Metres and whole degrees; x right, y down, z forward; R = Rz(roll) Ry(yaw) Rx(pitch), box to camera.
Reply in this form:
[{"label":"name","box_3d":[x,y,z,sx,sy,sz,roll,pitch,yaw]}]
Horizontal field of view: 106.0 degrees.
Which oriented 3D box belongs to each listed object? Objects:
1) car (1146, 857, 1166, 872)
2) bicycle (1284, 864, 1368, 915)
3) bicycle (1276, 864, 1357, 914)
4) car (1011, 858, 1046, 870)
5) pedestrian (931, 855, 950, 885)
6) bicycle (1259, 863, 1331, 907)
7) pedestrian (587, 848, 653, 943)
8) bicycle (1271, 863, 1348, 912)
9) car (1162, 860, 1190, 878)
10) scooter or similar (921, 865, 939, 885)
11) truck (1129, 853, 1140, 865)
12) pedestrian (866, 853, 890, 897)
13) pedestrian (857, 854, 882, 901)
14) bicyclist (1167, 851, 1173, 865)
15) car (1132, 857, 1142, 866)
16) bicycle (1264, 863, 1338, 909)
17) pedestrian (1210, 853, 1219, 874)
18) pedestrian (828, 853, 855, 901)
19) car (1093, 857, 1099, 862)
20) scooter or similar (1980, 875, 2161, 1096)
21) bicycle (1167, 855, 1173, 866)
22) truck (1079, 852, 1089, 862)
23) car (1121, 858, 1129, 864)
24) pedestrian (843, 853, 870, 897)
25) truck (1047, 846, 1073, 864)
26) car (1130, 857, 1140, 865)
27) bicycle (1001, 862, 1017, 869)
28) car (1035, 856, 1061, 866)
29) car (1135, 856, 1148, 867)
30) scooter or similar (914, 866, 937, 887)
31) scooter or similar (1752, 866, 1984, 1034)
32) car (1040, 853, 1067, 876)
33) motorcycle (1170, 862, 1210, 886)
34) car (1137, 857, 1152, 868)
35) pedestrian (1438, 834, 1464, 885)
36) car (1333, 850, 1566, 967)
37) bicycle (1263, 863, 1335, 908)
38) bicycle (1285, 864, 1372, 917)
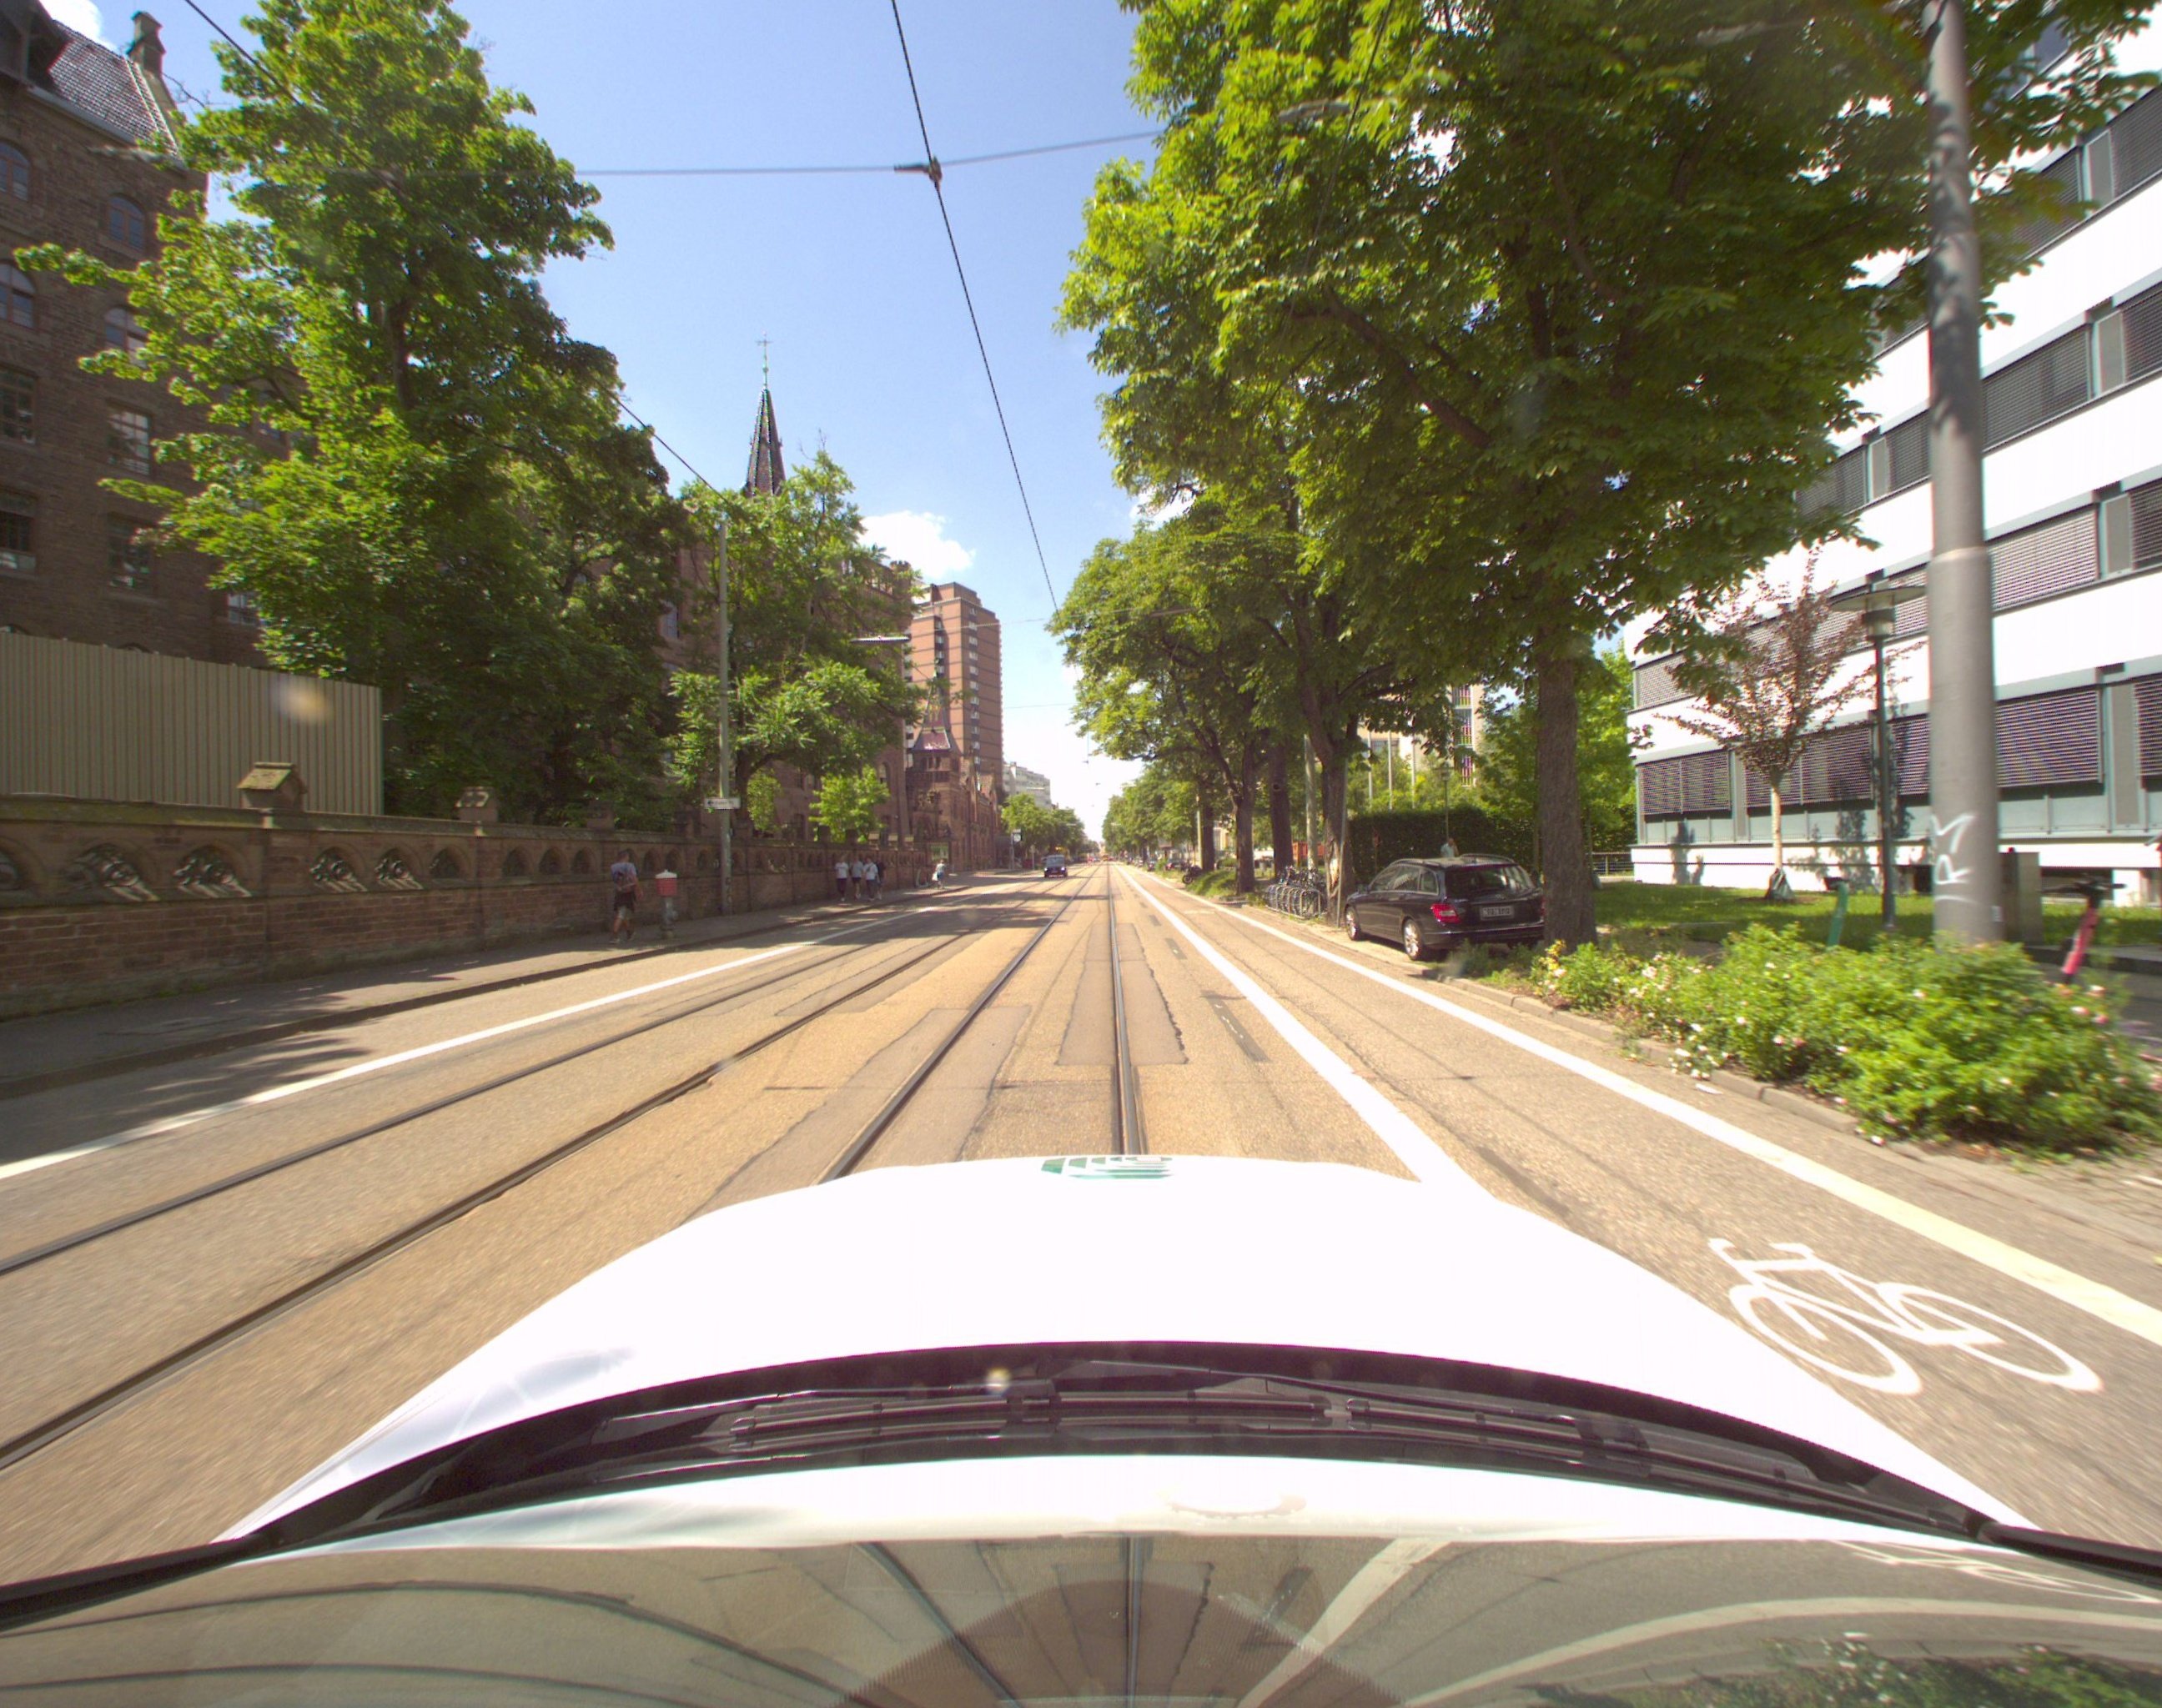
[{"label":"car","box_3d":[7.683,1.036,84.085,1.665,1.408,4.750,-2,0,1]},{"label":"bicycle","box_3d":[5.800,0.836,19.290,1.806,1.111,0.534,-2,-1,-8]},{"label":"bicycle","box_3d":[5.750,0.843,19.910,1.806,1.111,0.532,-2,-1,-8]},{"label":"car","box_3d":[-7.782,1.454,120.074,4.790,1.566,1.984,-1,-1,-27]},{"label":"pedestrian","box_3d":[-7.766,0.884,45.080,0.796,1.589,0.920,1,0,1]},{"label":"bicycle","box_3d":[5.837,0.841,22.271,1.803,1.111,0.449,-3,-1,-2]},{"label":"pedestrian","box_3d":[-9.031,0.791,15.983,0.719,1.792,0.920,1,0,2]},{"label":"bicycle","box_3d":[5.768,0.835,20.568,1.809,1.111,0.488,-2,-1,-12]},{"label":"car","box_3d":[7.153,1.117,61.593,1.744,1.270,3.835,0,0,2]},{"label":"scooter or similar","box_3d":[-8.884,1.228,47.959,0.325,1.127,1.230,-1,-1,30]},{"label":"truck","box_3d":[11.047,0.984,168.508,2.007,2.489,5.957,-2,0,1]},{"label":"pedestrian","box_3d":[-8.232,0.851,33.045,0.674,1.748,0.920,1,0,2]},{"label":"pedestrian","box_3d":[-8.134,0.891,31.370,0.674,1.790,0.920,1,0,2]},{"label":"bicyclist","box_3d":[10.897,0.450,100.087,0.578,1.648,0.599,-3,0,1]},{"label":"car","box_3d":[10.127,1.311,146.993,1.817,1.471,4.490,-2,0,3]},{"label":"bicycle","box_3d":[5.794,0.833,21.441,1.803,1.111,0.395,-3,-1,-2]},{"label":"pedestrian","box_3d":[10.431,0.752,63.513,0.511,1.573,0.545,-3,-1,2]},{"label":"pedestrian","box_3d":[-9.150,0.865,31.150,0.674,1.776,0.920,1,0,2]},{"label":"car","box_3d":[4.792,1.745,257.773,1.824,1.681,4.186,-2,0,2]},{"label":"scooter or similar","box_3d":[6.388,0.759,4.831,0.537,1.208,1.385,-3,0,1]},{"label":"bicycle","box_3d":[10.906,0.804,100.098,0.552,1.265,1.774,-4,0,2]},{"label":"truck","box_3d":[0.876,0.838,236.514,2.350,2.852,7.385,-3,0,4]},{"label":"car","box_3d":[11.977,1.841,222.011,1.634,1.485,3.871,-2,-1,-1]},{"label":"pedestrian","box_3d":[-9.104,0.843,33.028,0.749,1.776,0.920,1,0,2]},{"label":"truck","box_3d":[-4.637,0.214,182.045,2.694,3.842,11.009,-1,-1,16]},{"label":"car","box_3d":[10.503,1.376,157.985,1.816,1.471,4.405,-2,0,4]},{"label":"bicycle","box_3d":[-9.860,1.526,111.620,1.998,0.891,0.594,3,-1,-15]},{"label":"car","box_3d":[-6.236,1.259,152.811,4.563,1.791,1.882,0,0,-31]},{"label":"car","box_3d":[9.443,1.164,127.297,1.665,1.517,4.202,-2,0,1]},{"label":"scooter or similar","box_3d":[-8.473,1.249,44.494,1.232,1.127,0.344,2,-2,-45]},{"label":"scooter or similar","box_3d":[6.436,0.722,6.764,0.537,1.208,1.385,-3,0,1]},{"label":"car","box_3d":[-2.255,0.878,68.193,1.897,1.788,4.257,-2,0,2]},{"label":"motorcycle","box_3d":[5.732,1.065,42.794,2.035,1.213,0.617,-3,-2,41]},{"label":"car","box_3d":[8.899,1.215,114.415,1.666,1.499,4.363,-2,0,-1]},{"label":"pedestrian","box_3d":[13.055,0.207,28.745,0.622,1.748,0.659,-3,-1,11]},{"label":"car","box_3d":[5.573,0.722,13.056,1.670,1.467,4.635,-3,0,1]},{"label":"bicycle","box_3d":[5.835,0.839,21.840,1.803,1.111,0.395,-3,-1,-2]},{"label":"bicycle","box_3d":[5.648,0.828,18.640,1.803,1.111,0.514,-3,-1,-2]}]
